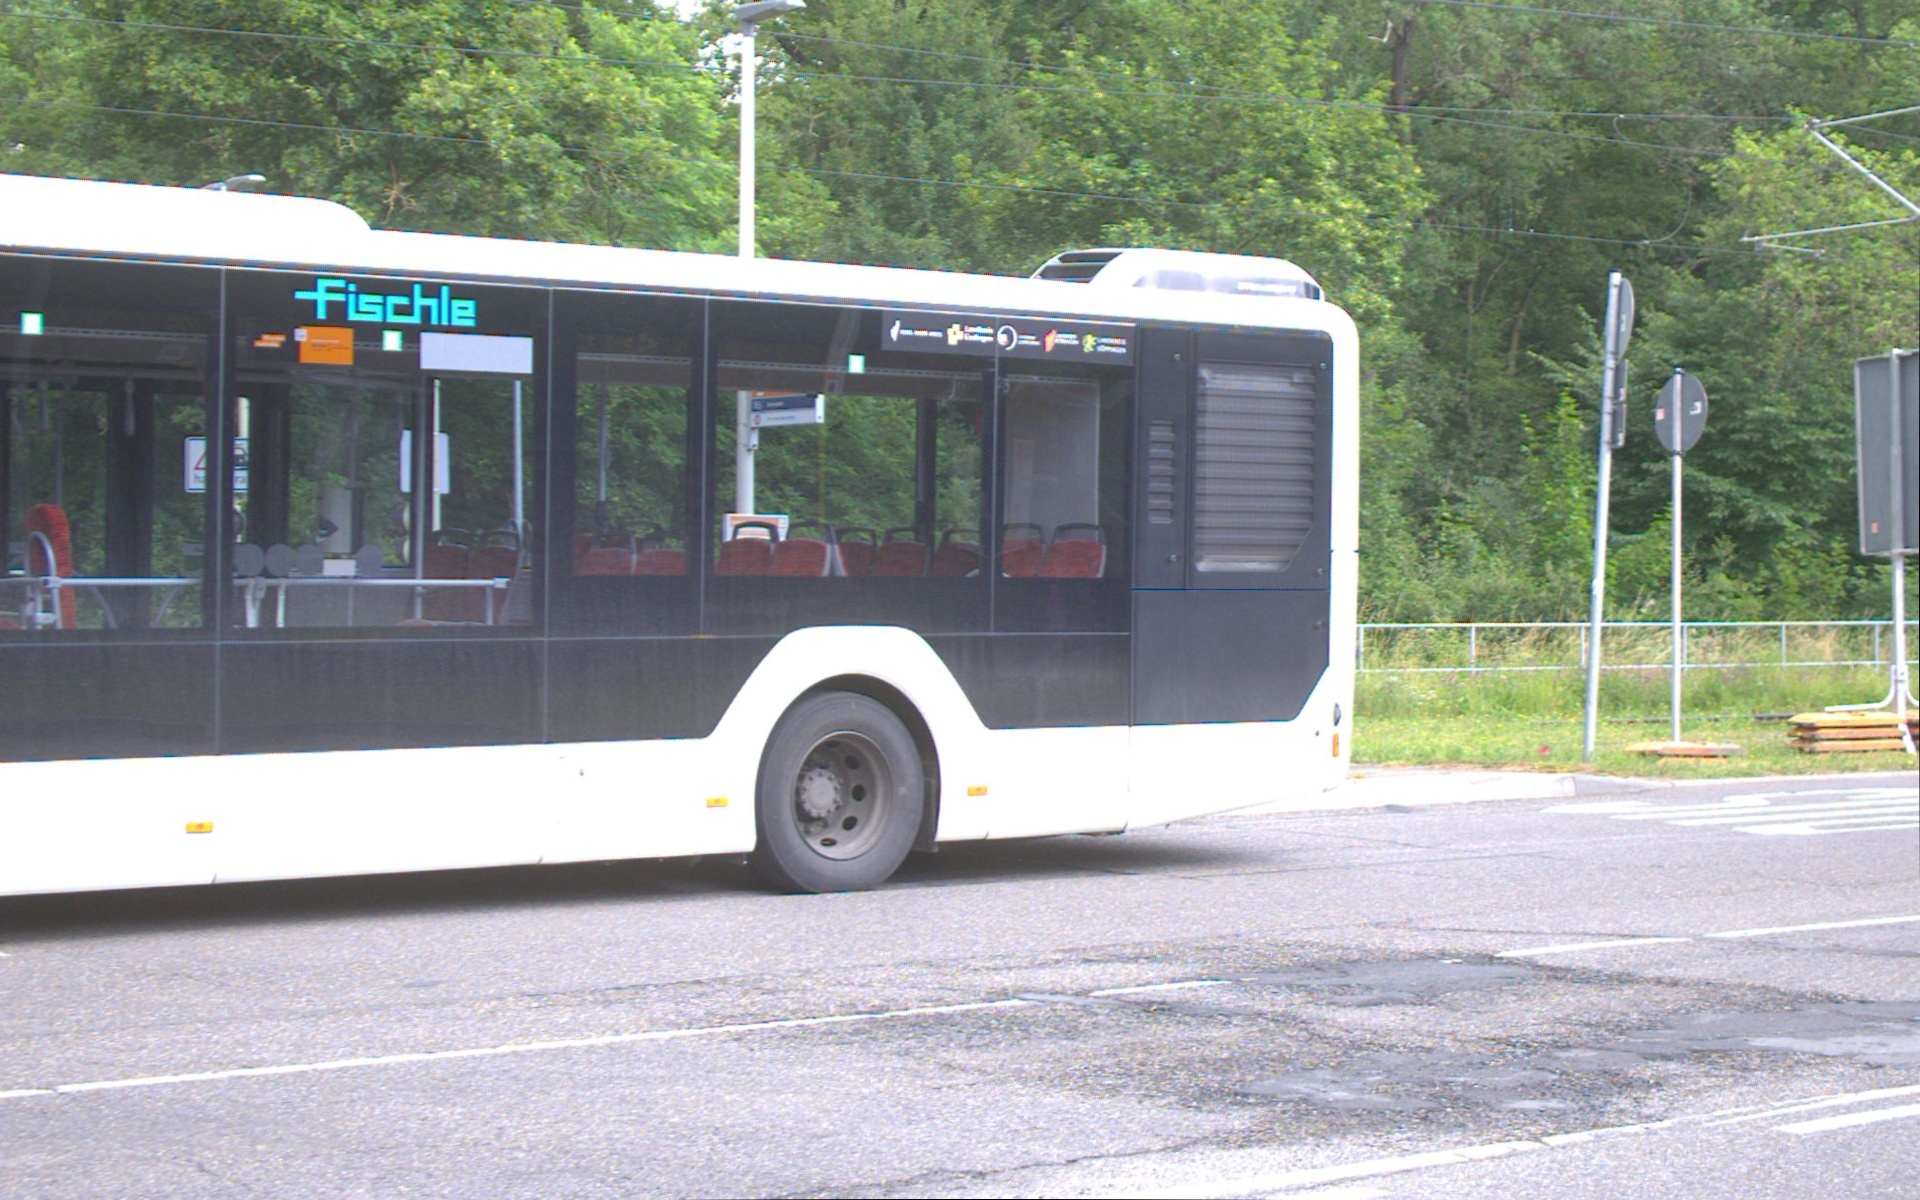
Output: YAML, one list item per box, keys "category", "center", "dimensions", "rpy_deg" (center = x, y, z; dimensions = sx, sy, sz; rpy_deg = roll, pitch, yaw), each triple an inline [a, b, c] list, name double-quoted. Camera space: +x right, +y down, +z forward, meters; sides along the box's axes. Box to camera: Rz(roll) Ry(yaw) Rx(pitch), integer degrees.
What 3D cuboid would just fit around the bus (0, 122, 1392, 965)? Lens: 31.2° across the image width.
- category: "bus"
  center: [-3.388, -0.213, 14.919]
  dimensions: [12.163, 3.192, 2.674]
  rpy_deg: [0, 0, -38]
